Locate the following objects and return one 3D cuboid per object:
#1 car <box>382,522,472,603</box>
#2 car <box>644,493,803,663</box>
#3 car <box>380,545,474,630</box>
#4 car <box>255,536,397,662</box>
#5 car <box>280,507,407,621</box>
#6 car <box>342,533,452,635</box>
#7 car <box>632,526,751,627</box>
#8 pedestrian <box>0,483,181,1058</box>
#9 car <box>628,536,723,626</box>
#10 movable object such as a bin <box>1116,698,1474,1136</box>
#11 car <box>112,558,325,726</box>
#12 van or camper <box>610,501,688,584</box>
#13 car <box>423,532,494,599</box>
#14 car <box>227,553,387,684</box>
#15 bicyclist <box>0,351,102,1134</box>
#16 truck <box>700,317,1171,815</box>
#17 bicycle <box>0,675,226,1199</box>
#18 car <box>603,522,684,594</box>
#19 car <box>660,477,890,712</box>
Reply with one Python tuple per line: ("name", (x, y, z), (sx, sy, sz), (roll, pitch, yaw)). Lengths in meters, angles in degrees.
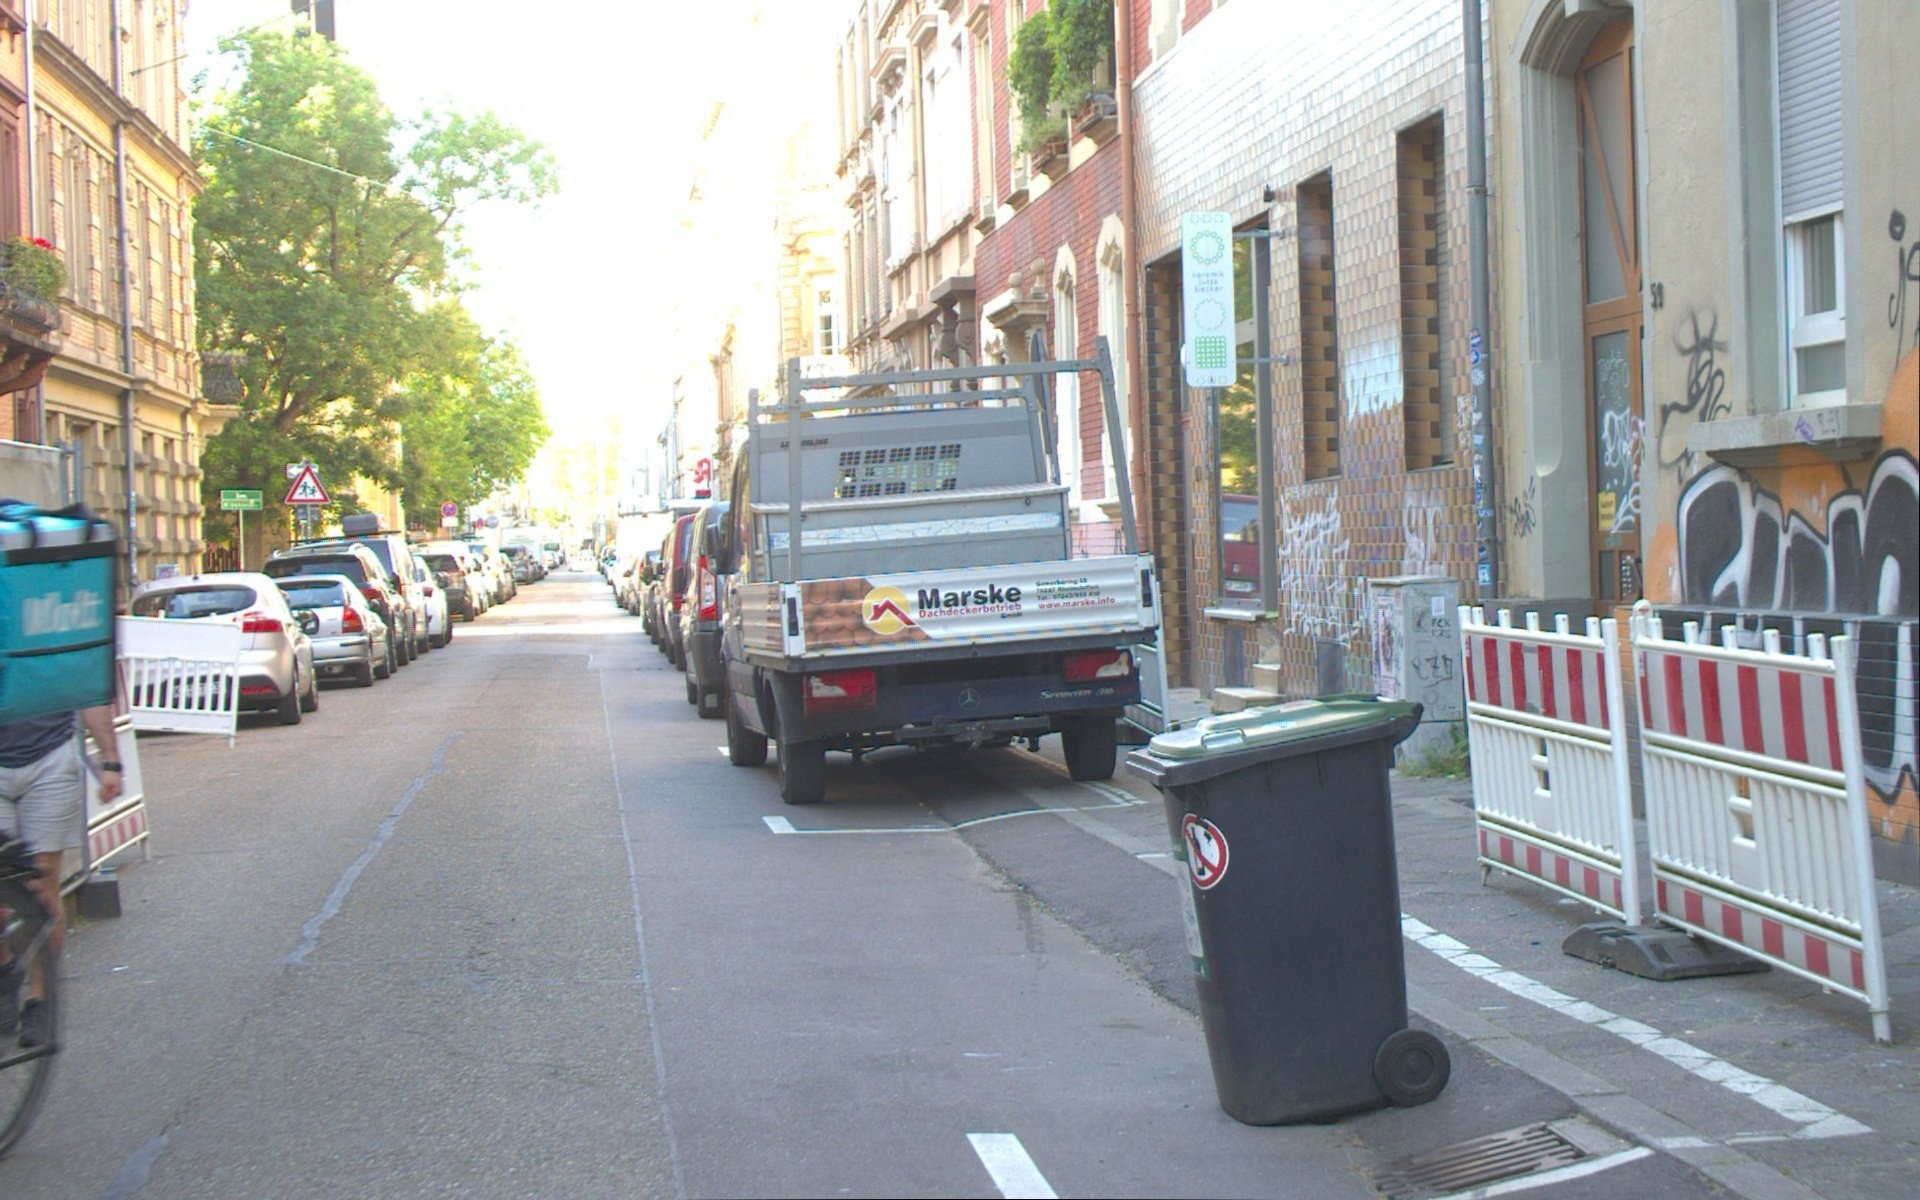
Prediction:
("car", (-13.134, -0.943, 84.922), (1.993, 1.842, 4.001), (-3, 1, -7))
("car", (-3.073, -0.297, 44.087), (1.674, 2.024, 3.870), (-2, 1, -8))
("car", (-12.336, -0.318, 79.750), (1.993, 1.842, 4.001), (-2, 1, -7))
("car", (-8.518, -0.041, 46.430), (1.674, 1.565, 3.870), (-2, 1, -8))
("car", (-9.229, -0.550, 51.661), (1.674, 1.565, 3.870), (-3, 1, -8))
("car", (-9.279, -0.275, 56.882), (1.674, 1.565, 3.870), (-2, 1, -8))
("car", (-4.521, -0.410, 57.498), (1.674, 1.565, 3.870), (-2, 1, -8))
("pedestrian", (-2.858, 0.516, 10.779), (0.657, 1.727, 0.720), (-2, 1, -6))
("car", (-6.793, -0.479, 81.836), (1.993, 2.007, 4.001), (-2, 1, -7))
("movable object such as a bin", (0.870, 0.814, 9.074), (0.795, 1.052, 0.660), (-2, 1, -6))
("car", (-7.013, 0.351, 32.803), (1.674, 1.440, 3.870), (-2, 1, -8))
("van or camper", (-10.000, -1.837, 110.283), (1.993, 2.499, 4.203), (-3, 1, -10))
("car", (-14.700, -1.026, 100.993), (1.899, 1.842, 3.931), (-3, 1, -7))
("car", (-7.853, 0.190, 41.583), (1.674, 1.440, 3.870), (-2, 1, -8))
("bicyclist", (-2.529, 0.331, 7.785), (0.731, 1.755, 0.835), (-2, 1, 17))
("truck", (-0.321, -0.236, 21.242), (2.189, 2.598, 5.235), (-3, 1, -7))
("bicycle", (-2.518, 0.823, 7.811), (0.725, 1.182, 2.041), (-1, 2, 17))
("car", (-8.681, -1.153, 94.022), (1.993, 1.842, 4.001), (-3, 1, -7))
("car", (-1.767, -0.075, 31.659), (1.674, 1.956, 4.110), (-2, 1, -8))
